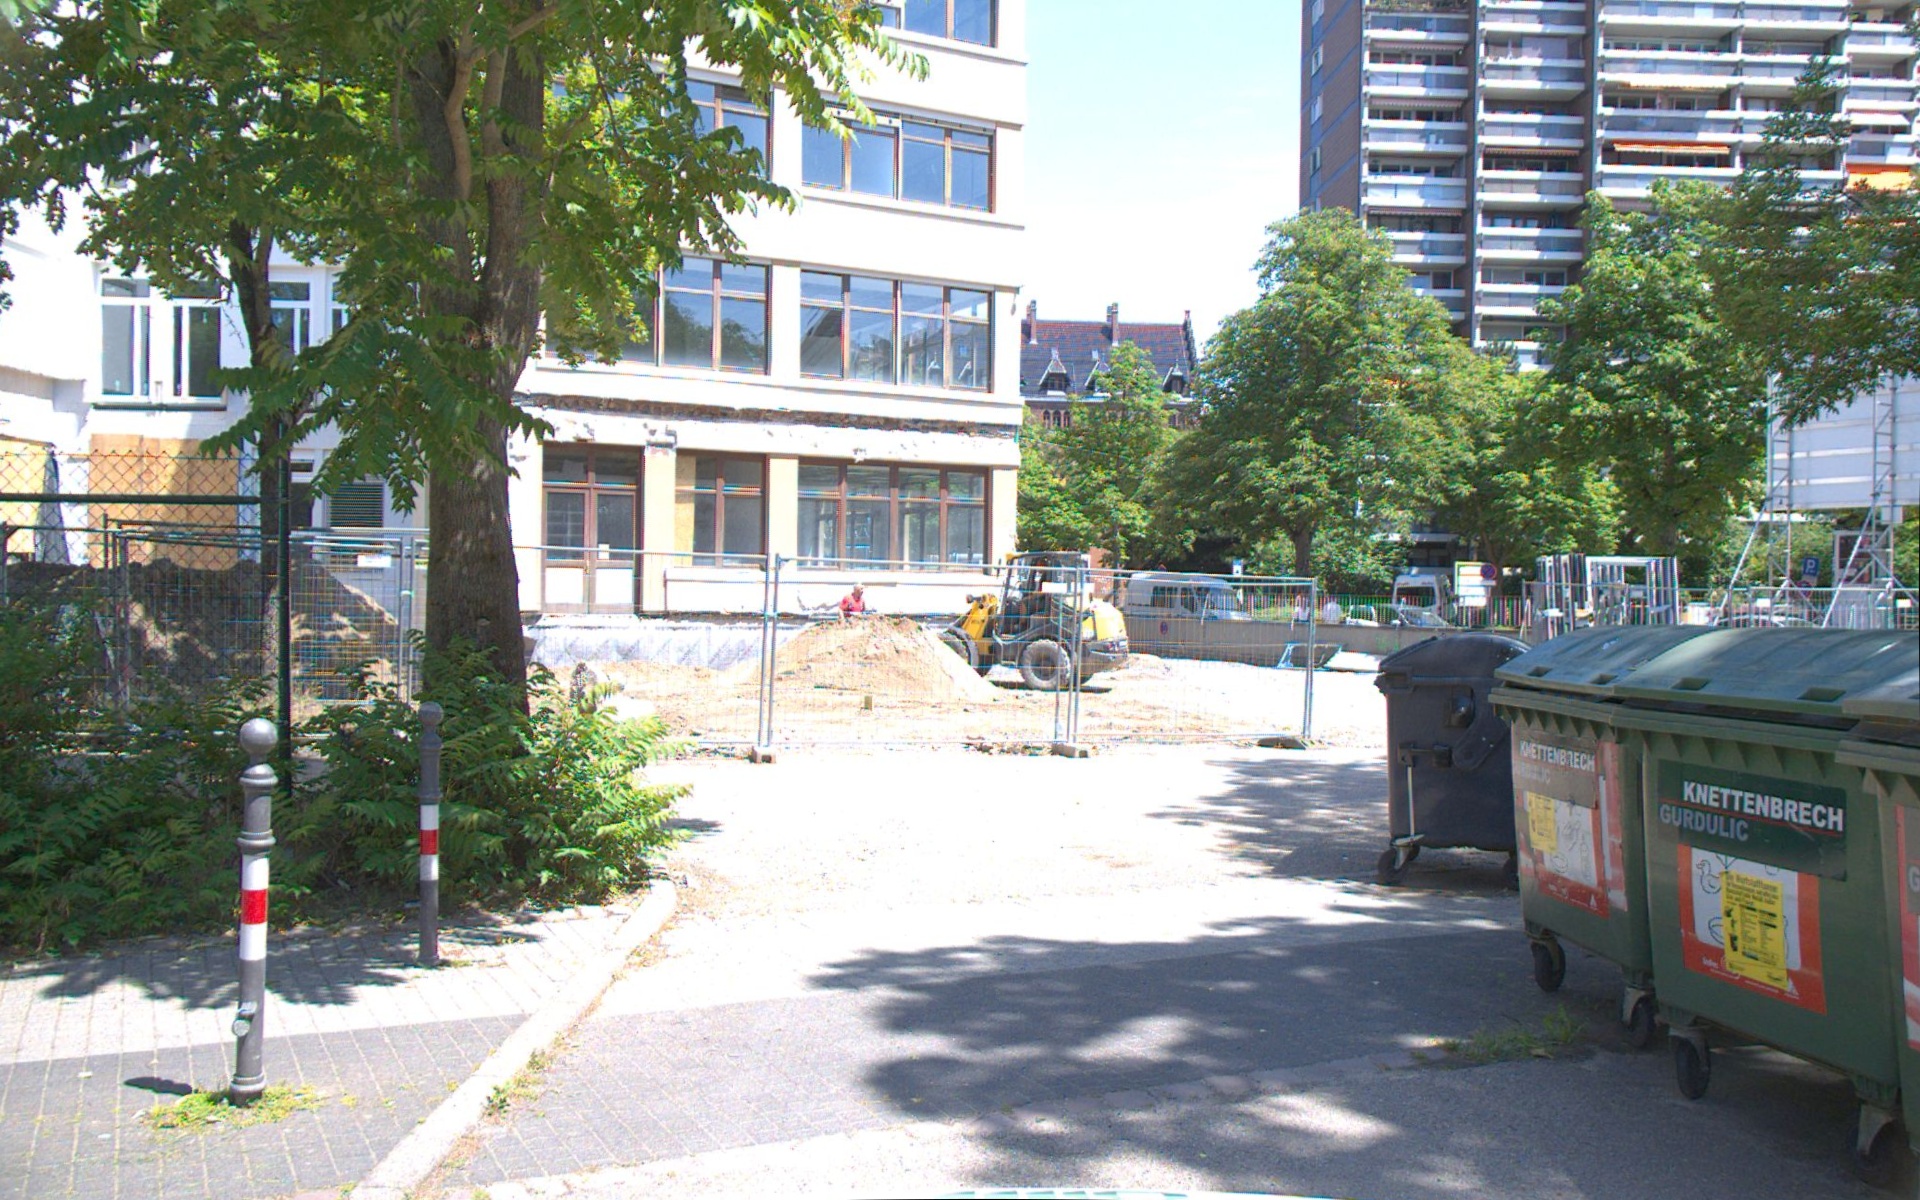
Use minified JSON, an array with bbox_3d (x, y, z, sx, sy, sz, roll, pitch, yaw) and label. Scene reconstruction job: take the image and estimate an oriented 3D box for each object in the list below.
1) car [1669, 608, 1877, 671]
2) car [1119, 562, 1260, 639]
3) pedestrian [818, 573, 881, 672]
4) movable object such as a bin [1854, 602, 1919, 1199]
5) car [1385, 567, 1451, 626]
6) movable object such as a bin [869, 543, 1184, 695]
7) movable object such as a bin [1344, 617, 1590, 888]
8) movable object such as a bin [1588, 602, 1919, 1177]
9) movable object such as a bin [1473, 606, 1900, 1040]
[{"bbox_3d":[20.337,0.948,41.580,1.649,1.463,4.641,1,0,-29],"label":"car"},{"bbox_3d":[7.590,0.022,55.199,1.972,2.458,5.192,1,0,-29],"label":"car"},{"bbox_3d":[-2.135,0.423,31.887,0.903,1.879,0.977,1,0,-28],"label":"pedestrian"},{"bbox_3d":[2.782,0.750,3.495,1.053,1.483,1.377,0,0,0],"label":"movable object such as a bin"},{"bbox_3d":[18.663,-0.124,67.276,2.139,2.297,4.869,0,0,21],"label":"car"},{"bbox_3d":[1.240,0.294,30.815,5.296,2.507,2.366,2,0,25],"label":"movable object such as a bin"},{"bbox_3d":[2.983,0.856,9.897,1.053,1.483,1.377,0,0,0],"label":"movable object such as a bin"},{"bbox_3d":[2.668,0.752,4.966,1.053,1.483,1.377,0,0,0],"label":"movable object such as a bin"},{"bbox_3d":[2.718,0.771,6.388,1.053,1.483,1.377,0,0,0],"label":"movable object such as a bin"}]
